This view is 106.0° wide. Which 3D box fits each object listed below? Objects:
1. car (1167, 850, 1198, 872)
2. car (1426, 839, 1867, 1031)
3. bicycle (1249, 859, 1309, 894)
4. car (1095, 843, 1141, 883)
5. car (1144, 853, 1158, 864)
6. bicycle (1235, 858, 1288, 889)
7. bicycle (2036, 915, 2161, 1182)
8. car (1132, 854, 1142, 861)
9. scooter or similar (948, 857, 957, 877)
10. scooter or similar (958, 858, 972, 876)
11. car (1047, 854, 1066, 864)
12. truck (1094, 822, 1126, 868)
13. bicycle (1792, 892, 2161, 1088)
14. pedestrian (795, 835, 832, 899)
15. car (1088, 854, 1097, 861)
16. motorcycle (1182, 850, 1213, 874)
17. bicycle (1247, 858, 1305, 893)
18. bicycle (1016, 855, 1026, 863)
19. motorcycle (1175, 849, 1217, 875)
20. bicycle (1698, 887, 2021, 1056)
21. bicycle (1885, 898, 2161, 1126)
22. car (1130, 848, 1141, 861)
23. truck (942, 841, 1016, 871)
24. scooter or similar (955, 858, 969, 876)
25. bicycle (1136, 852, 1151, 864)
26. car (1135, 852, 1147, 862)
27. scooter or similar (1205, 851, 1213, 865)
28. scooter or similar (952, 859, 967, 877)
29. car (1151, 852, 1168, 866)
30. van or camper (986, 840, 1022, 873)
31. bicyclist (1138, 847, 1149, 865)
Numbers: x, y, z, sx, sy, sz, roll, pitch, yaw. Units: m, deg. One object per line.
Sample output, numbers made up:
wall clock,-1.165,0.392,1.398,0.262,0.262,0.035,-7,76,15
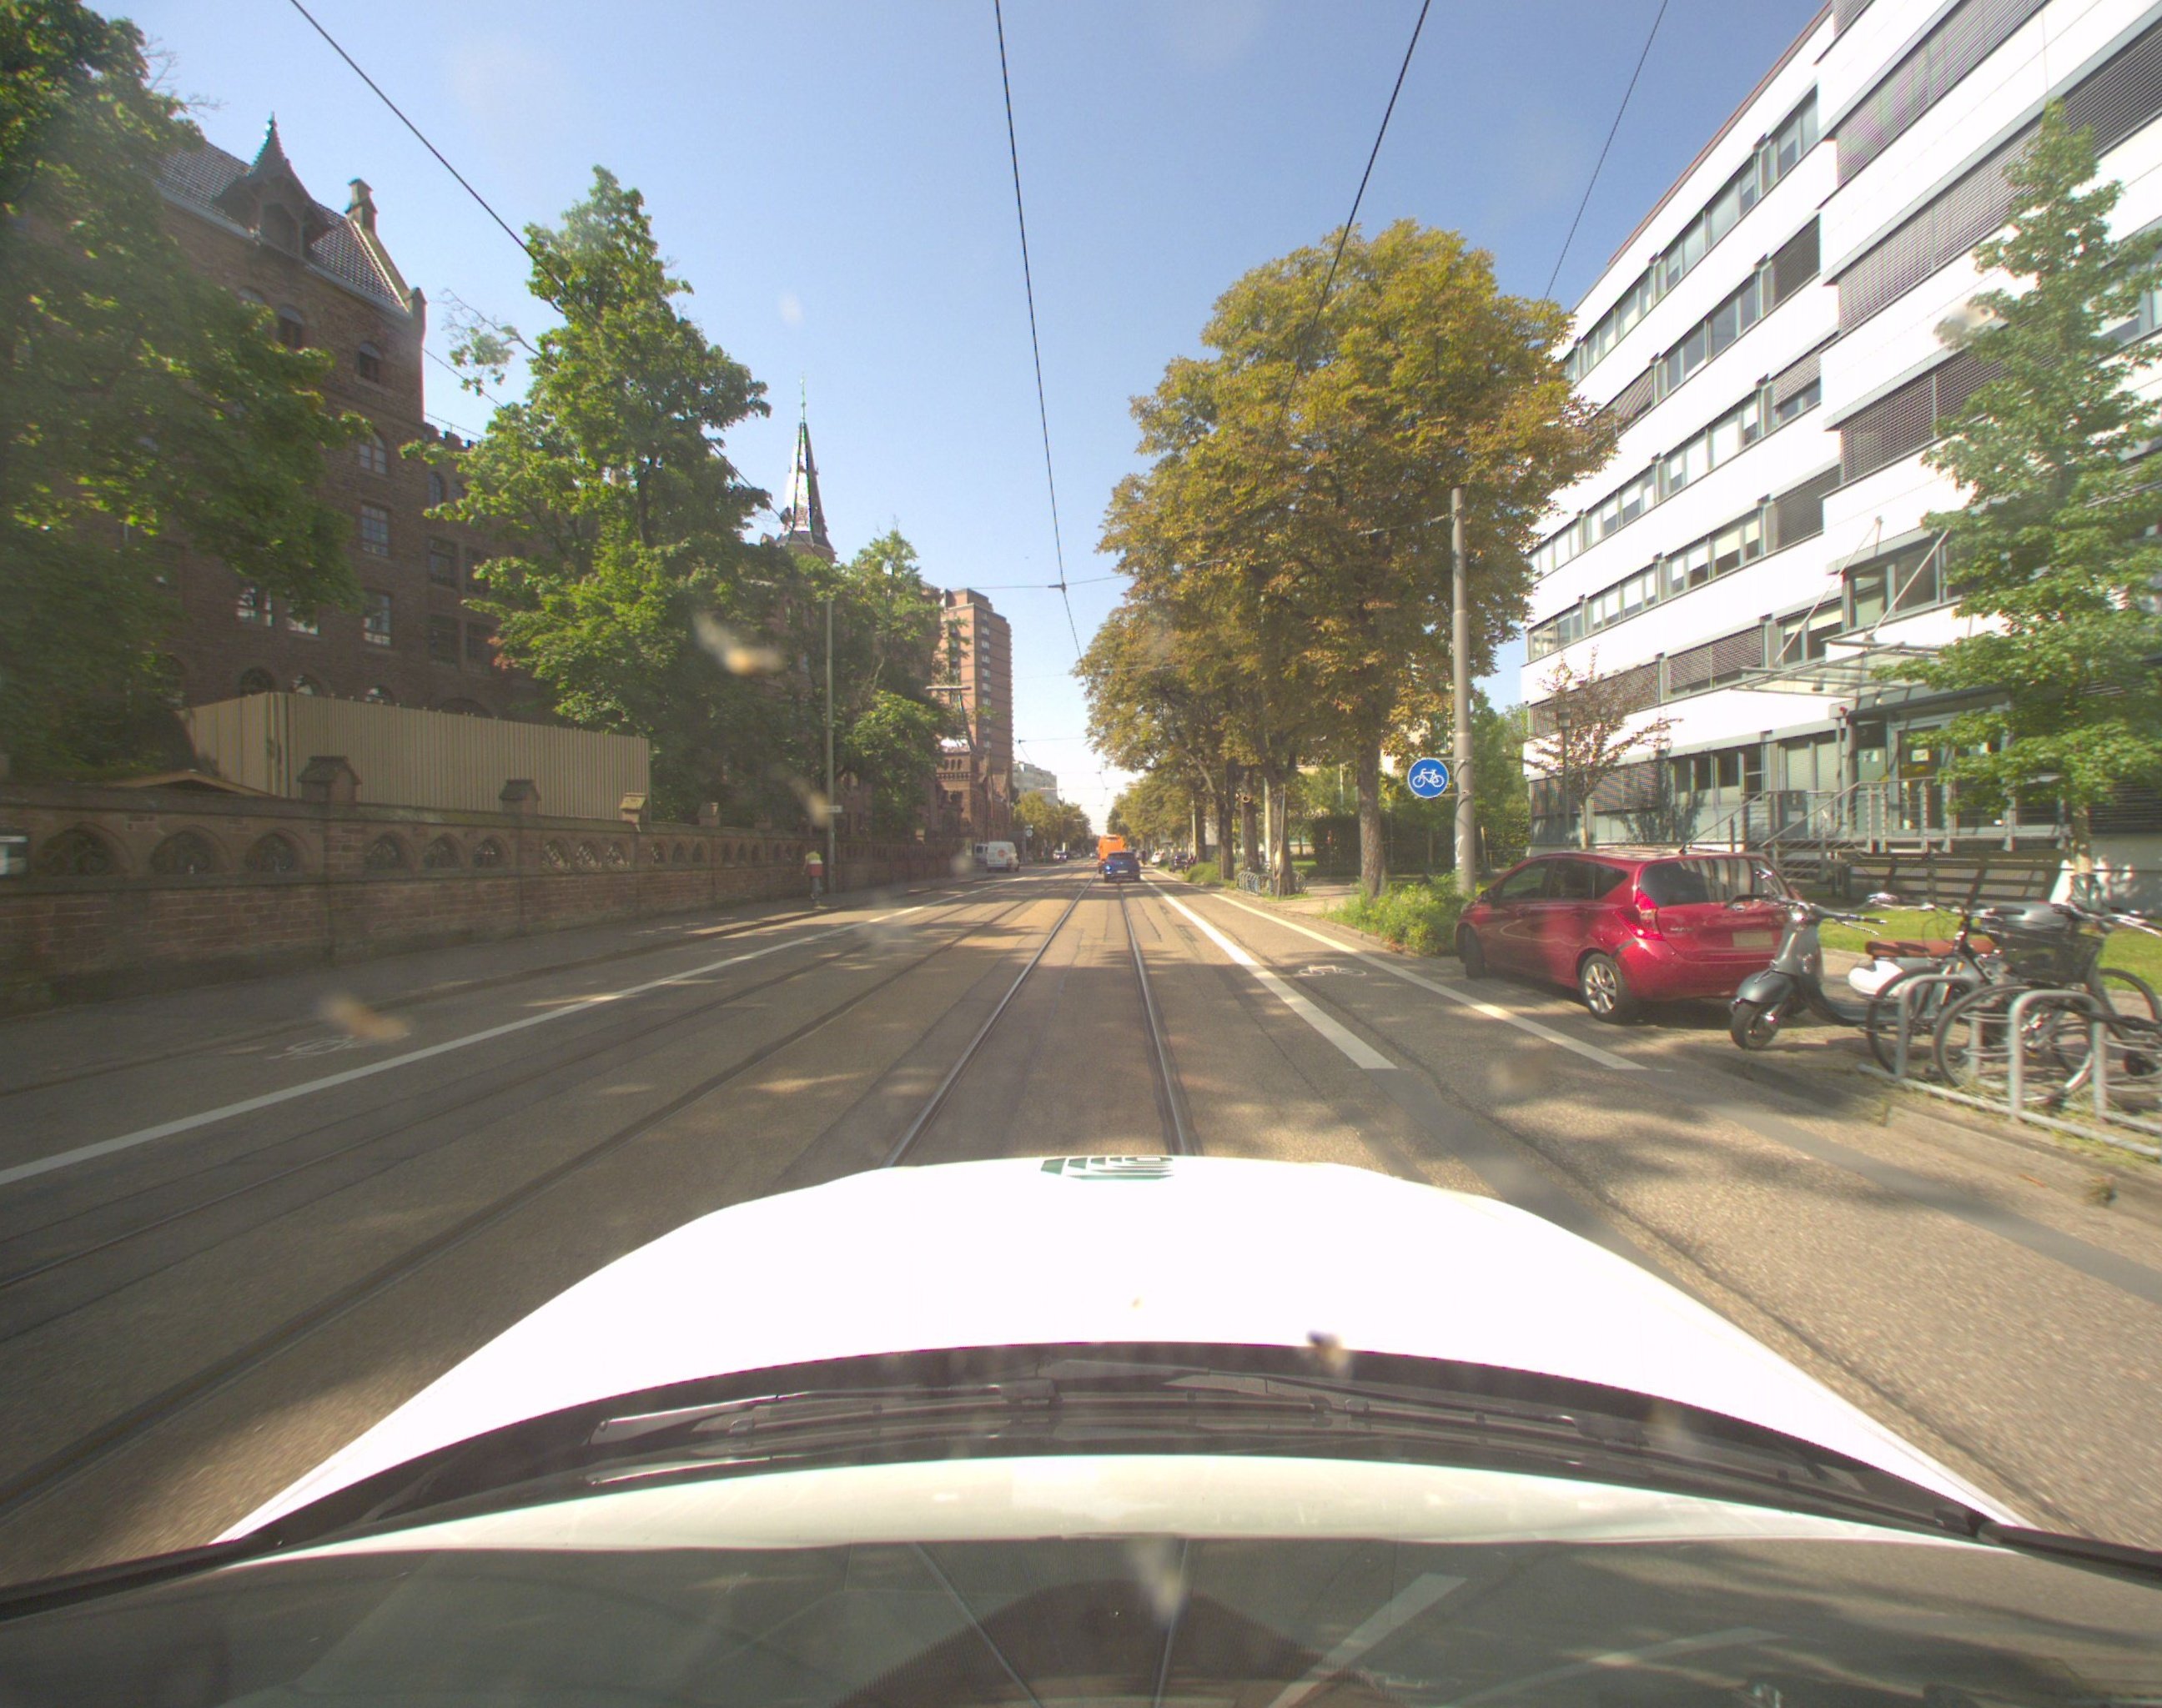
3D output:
car,7.455,0.531,60.414,1.750,1.515,4.610,-2,0,1
car,5.362,0.635,8.560,1.749,1.462,4.277,-2,0,2
bicycle,6.336,0.706,26.119,1.765,1.050,0.541,-2,0,1
car,1.890,0.422,41.497,2.127,1.858,5.571,-2,0,2
car,9.394,0.578,109.667,1.652,1.408,4.219,-2,0,3
bicycle,6.483,0.705,29.275,1.765,1.050,0.541,-2,0,1
bicycle,5.439,0.818,3.598,1.765,1.071,0.541,-2,0,1
car,11.296,0.757,164.926,1.901,1.431,4.293,-1,0,1
scooter or similar,-7.901,0.804,49.947,0.421,1.178,1.310,-1,0,-13
scooter or similar,-8.044,0.899,56.564,0.336,1.178,1.185,-1,0,27
car,-4.163,0.845,138.302,1.756,1.796,3.966,-1,0,-26
truck,2.131,-0.609,58.954,2.127,3.124,6.088,-2,0,2
bicycle,5.574,0.817,5.082,1.765,1.071,0.541,-2,0,1
pedestrian,-8.719,0.416,26.601,0.861,2.013,0.983,-1,0,0
car,2.740,0.842,196.861,1.839,1.492,4.871,-3,0,3
motorcycle,7.341,0.493,51.445,0.853,1.516,2.437,-1,0,-22
bicycle,6.405,0.705,26.796,1.765,1.050,0.541,-2,0,1
bicycle,-8.701,0.778,118.001,1.447,1.093,0.399,2,-1,-2
motorcycle,7.009,0.497,49.752,2.423,1.516,0.858,-1,0,40
bicycle,5.543,0.817,5.858,1.765,1.071,0.541,-2,0,1
bicycle,5.521,0.817,4.408,1.765,1.071,0.541,-2,0,1
car,11.694,0.159,175.520,1.986,2.755,5.762,-1,0,1
truck,-9.350,0.141,75.026,6.287,2.538,2.135,2,1,6
scooter or similar,-8.104,0.900,55.430,0.336,1.178,1.185,-1,0,27
bicycle,6.199,0.366,81.088,1.396,1.134,4.002,-1,0,2
car,10.617,0.578,144.407,1.734,1.668,4.363,-1,0,1
scooter or similar,11.983,0.393,76.110,0.553,1.259,1.820,-1,0,5
scooter or similar,-8.061,0.899,54.256,0.336,1.178,1.185,-1,0,27
car,8.829,0.541,91.285,1.652,1.481,4.219,-2,0,3
van or camper,-6.570,0.189,70.098,2.104,2.675,5.961,-1,0,4
bicyclist,6.232,0.202,81.064,1.028,1.812,1.017,-1,0,2
